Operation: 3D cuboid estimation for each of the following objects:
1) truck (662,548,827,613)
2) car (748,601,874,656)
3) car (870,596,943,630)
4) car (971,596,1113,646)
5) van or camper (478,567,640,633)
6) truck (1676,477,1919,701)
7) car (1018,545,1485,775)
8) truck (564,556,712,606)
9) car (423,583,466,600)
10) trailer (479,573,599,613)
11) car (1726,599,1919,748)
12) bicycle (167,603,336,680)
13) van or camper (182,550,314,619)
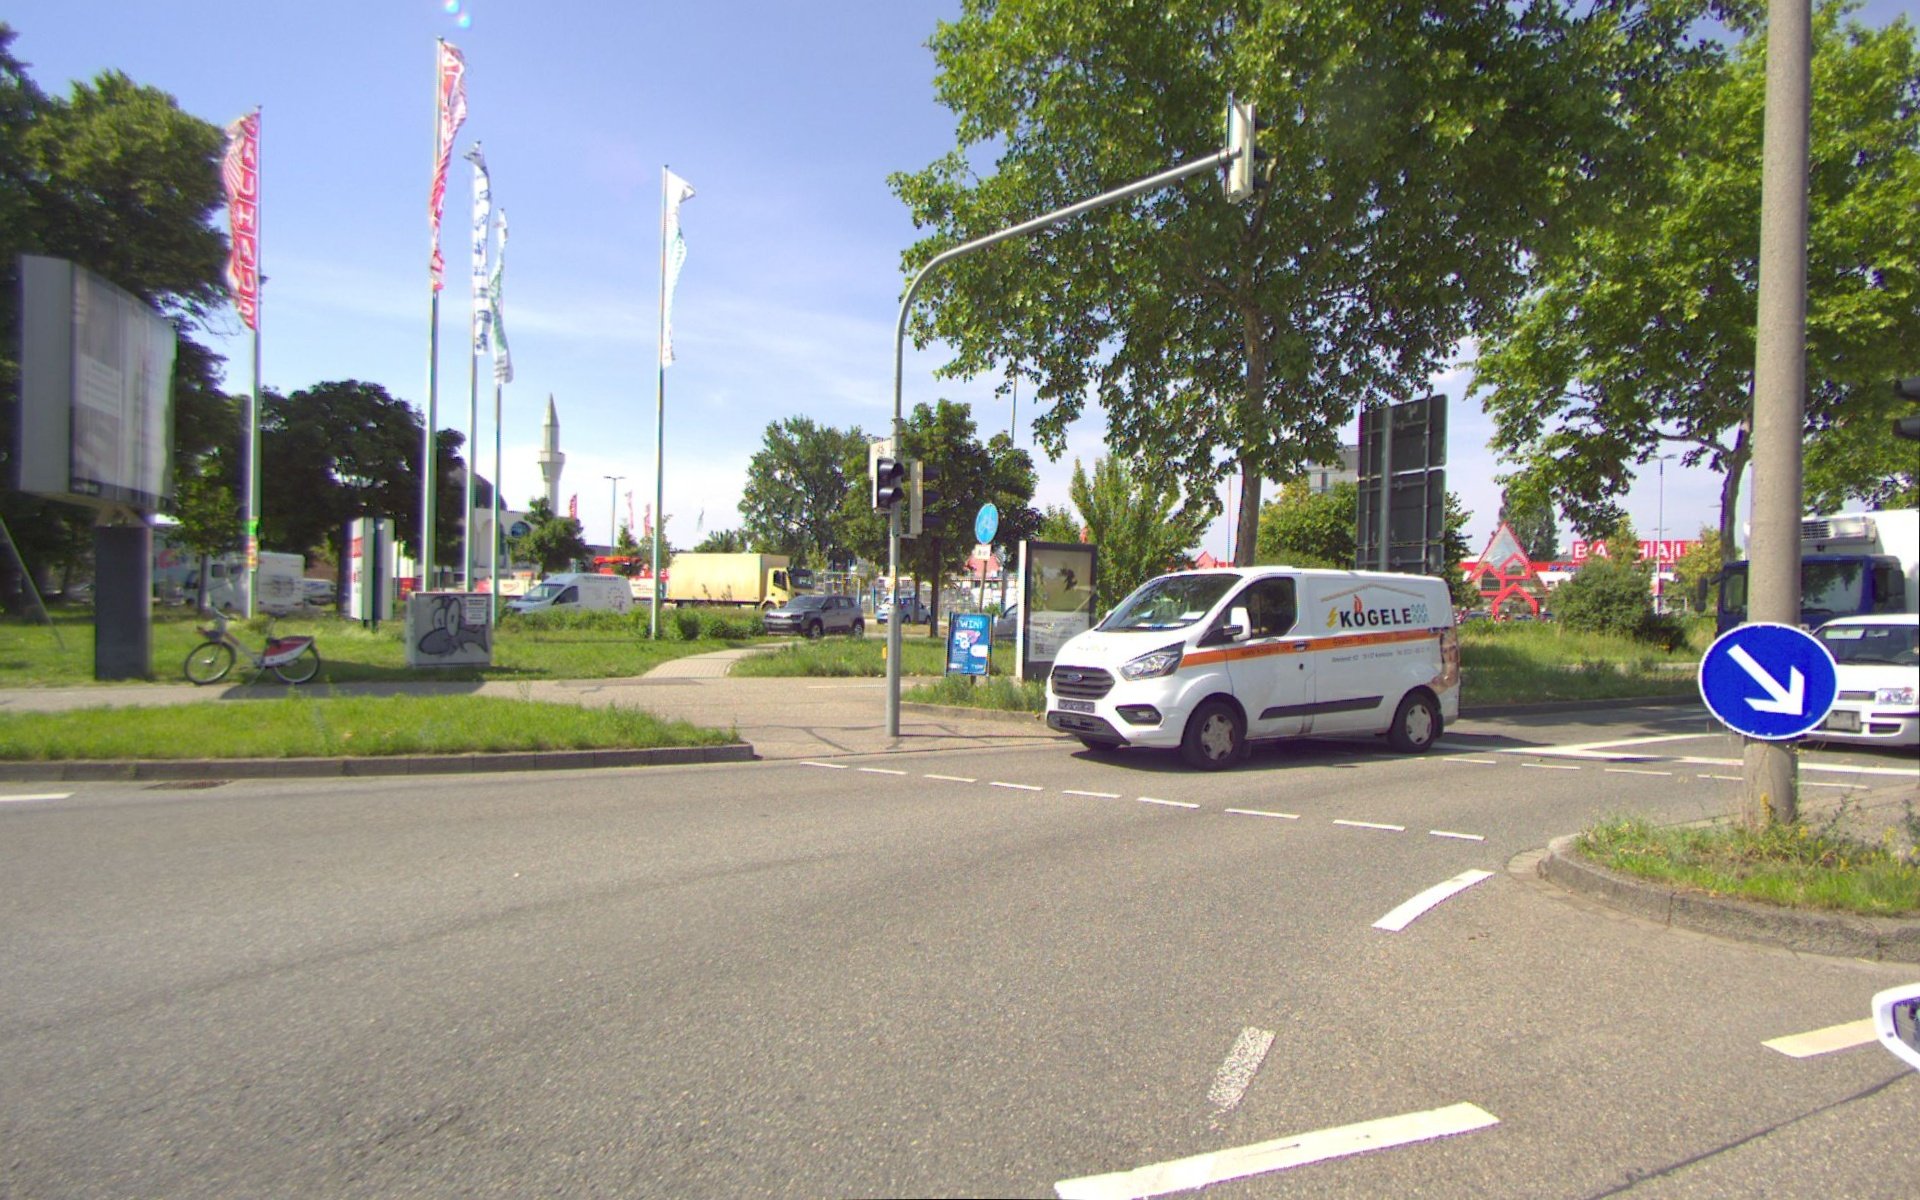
[{"bbox_3d":[-11.923,-1.068,55.323,8.756,3.356,3.157,1,1,25],"label":"truck"},{"bbox_3d":[-4.729,0.852,32.542,2.157,1.593,4.577,1,0,19],"label":"car"},{"bbox_3d":[-2.627,0.613,50.241,1.787,1.593,4.275,1,0,26],"label":"car"},{"bbox_3d":[2.538,0.620,32.286,2.179,1.433,4.532,1,0,-35],"label":"car"},{"bbox_3d":[-14.764,-0.003,37.398,2.156,2.239,5.510,1,0,28],"label":"van or camper"},{"bbox_3d":[16.572,-0.131,18.603,6.608,3.517,2.792,0,-1,-29],"label":"truck"},{"bbox_3d":[3.248,0.577,10.936,4.970,2.026,1.968,1,-2,-29],"label":"car"},{"bbox_3d":[-20.286,-1.209,63.131,9.434,2.931,2.923,1,1,26],"label":"truck"},{"bbox_3d":[-58.402,-0.959,113.816,1.814,1.818,3.993,1,0,29],"label":"car"},{"bbox_3d":[-28.087,-0.485,66.960,8.059,2.523,2.922,1,1,28],"label":"trailer"},{"bbox_3d":[10.757,0.765,11.696,3.683,1.497,1.586,1,-1,-29],"label":"car"},{"bbox_3d":[-10.079,0.587,14.349,1.863,1.051,0.594,1,1,-14],"label":"bicycle"},{"bbox_3d":[-34.504,-0.767,48.632,6.209,3.142,2.708,2,1,28],"label":"van or camper"}]
